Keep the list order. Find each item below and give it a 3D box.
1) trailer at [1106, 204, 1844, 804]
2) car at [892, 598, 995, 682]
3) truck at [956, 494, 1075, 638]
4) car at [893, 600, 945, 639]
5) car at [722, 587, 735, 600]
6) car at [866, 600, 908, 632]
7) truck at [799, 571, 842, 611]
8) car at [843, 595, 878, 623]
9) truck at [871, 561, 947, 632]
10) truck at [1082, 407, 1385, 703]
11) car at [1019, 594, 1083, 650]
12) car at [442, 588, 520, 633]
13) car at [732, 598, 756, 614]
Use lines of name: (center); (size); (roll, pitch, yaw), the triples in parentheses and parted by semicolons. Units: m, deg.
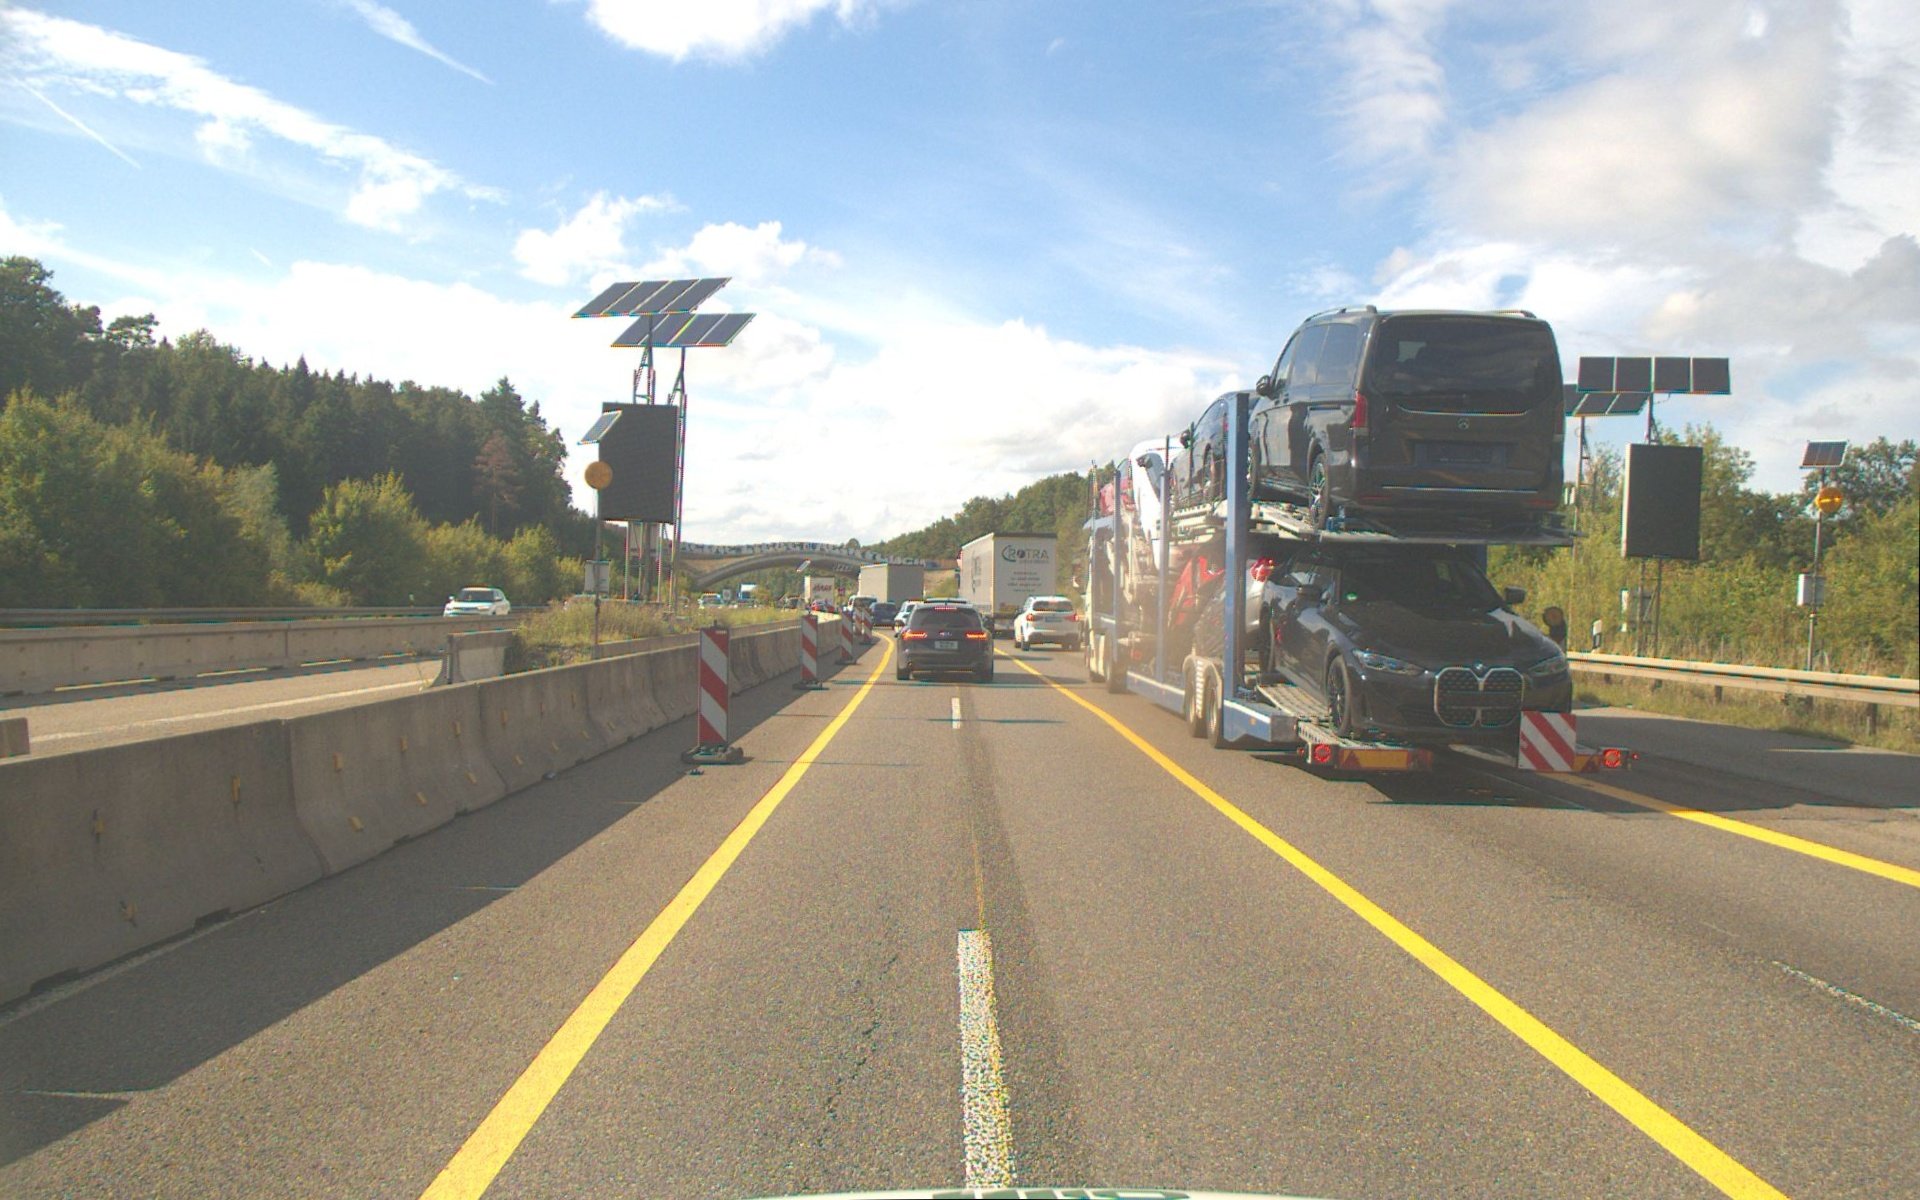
trailer: (4.456, -0.668, 20.080); (3.650, 4.270, 16.224); (1, 0, -1)
car: (-0.262, 0.732, 31.981); (1.851, 1.472, 4.000); (1, 0, 1)
truck: (2.132, -1.284, 71.737); (3.604, 5.447, 16.189); (1, 0, -3)
car: (-1.667, 0.751, 66.079); (1.853, 1.472, 3.996); (1, 0, -5)
car: (-35.179, -0.929, 251.452); (1.745, 1.899, 3.997); (1, 0, -4)
car: (-3.943, 0.836, 88.639); (1.855, 1.672, 4.010); (1, 0, -8)
truck: (-14.559, -0.929, 172.190); (3.586, 3.997, 11.044); (1, 0, -9)
car: (-6.106, 0.525, 101.576); (1.854, 1.672, 4.011); (1, 0, -7)
truck: (-3.725, -0.233, 116.742); (4.237, 4.681, 11.106); (1, 0, -7)
truck: (4.310, -0.647, 28.211); (3.685, 4.270, 7.949); (1, 0, -1)
car: (2.838, 0.668, 52.312); (1.851, 1.672, 4.018); (1, 0, 1)
car: (-18.193, 0.390, 62.994); (1.741, 1.630, 4.018); (1, 0, 1)
car: (-22.673, 0.650, 173.818); (1.928, 1.630, 4.945); (1, 0, -2)
